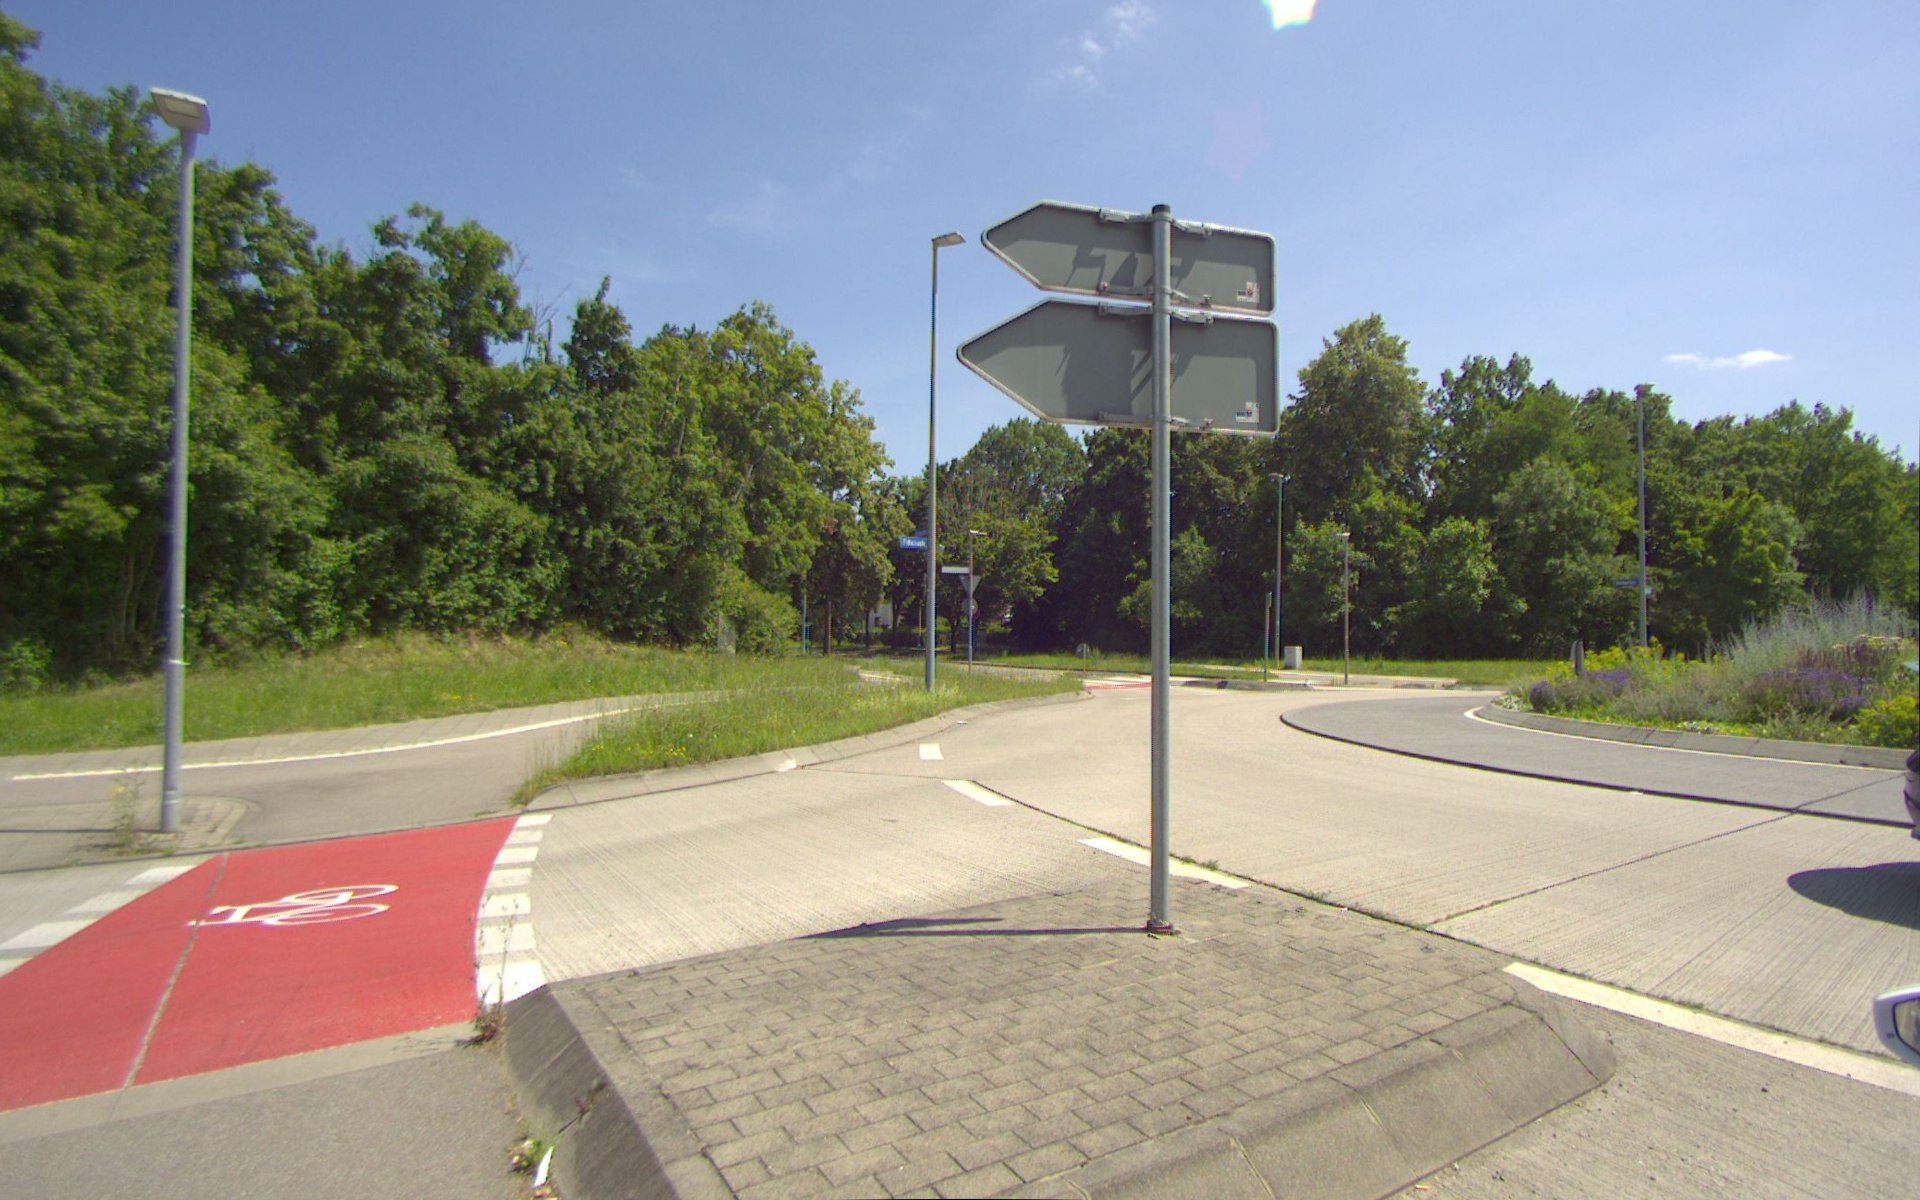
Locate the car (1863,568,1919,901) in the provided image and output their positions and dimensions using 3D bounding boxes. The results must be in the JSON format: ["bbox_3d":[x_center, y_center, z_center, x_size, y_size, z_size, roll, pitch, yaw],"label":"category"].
[{"bbox_3d":[6.896,0.674,3.990,1.983,1.661,4.704,2,-2,-39],"label":"car"}]
